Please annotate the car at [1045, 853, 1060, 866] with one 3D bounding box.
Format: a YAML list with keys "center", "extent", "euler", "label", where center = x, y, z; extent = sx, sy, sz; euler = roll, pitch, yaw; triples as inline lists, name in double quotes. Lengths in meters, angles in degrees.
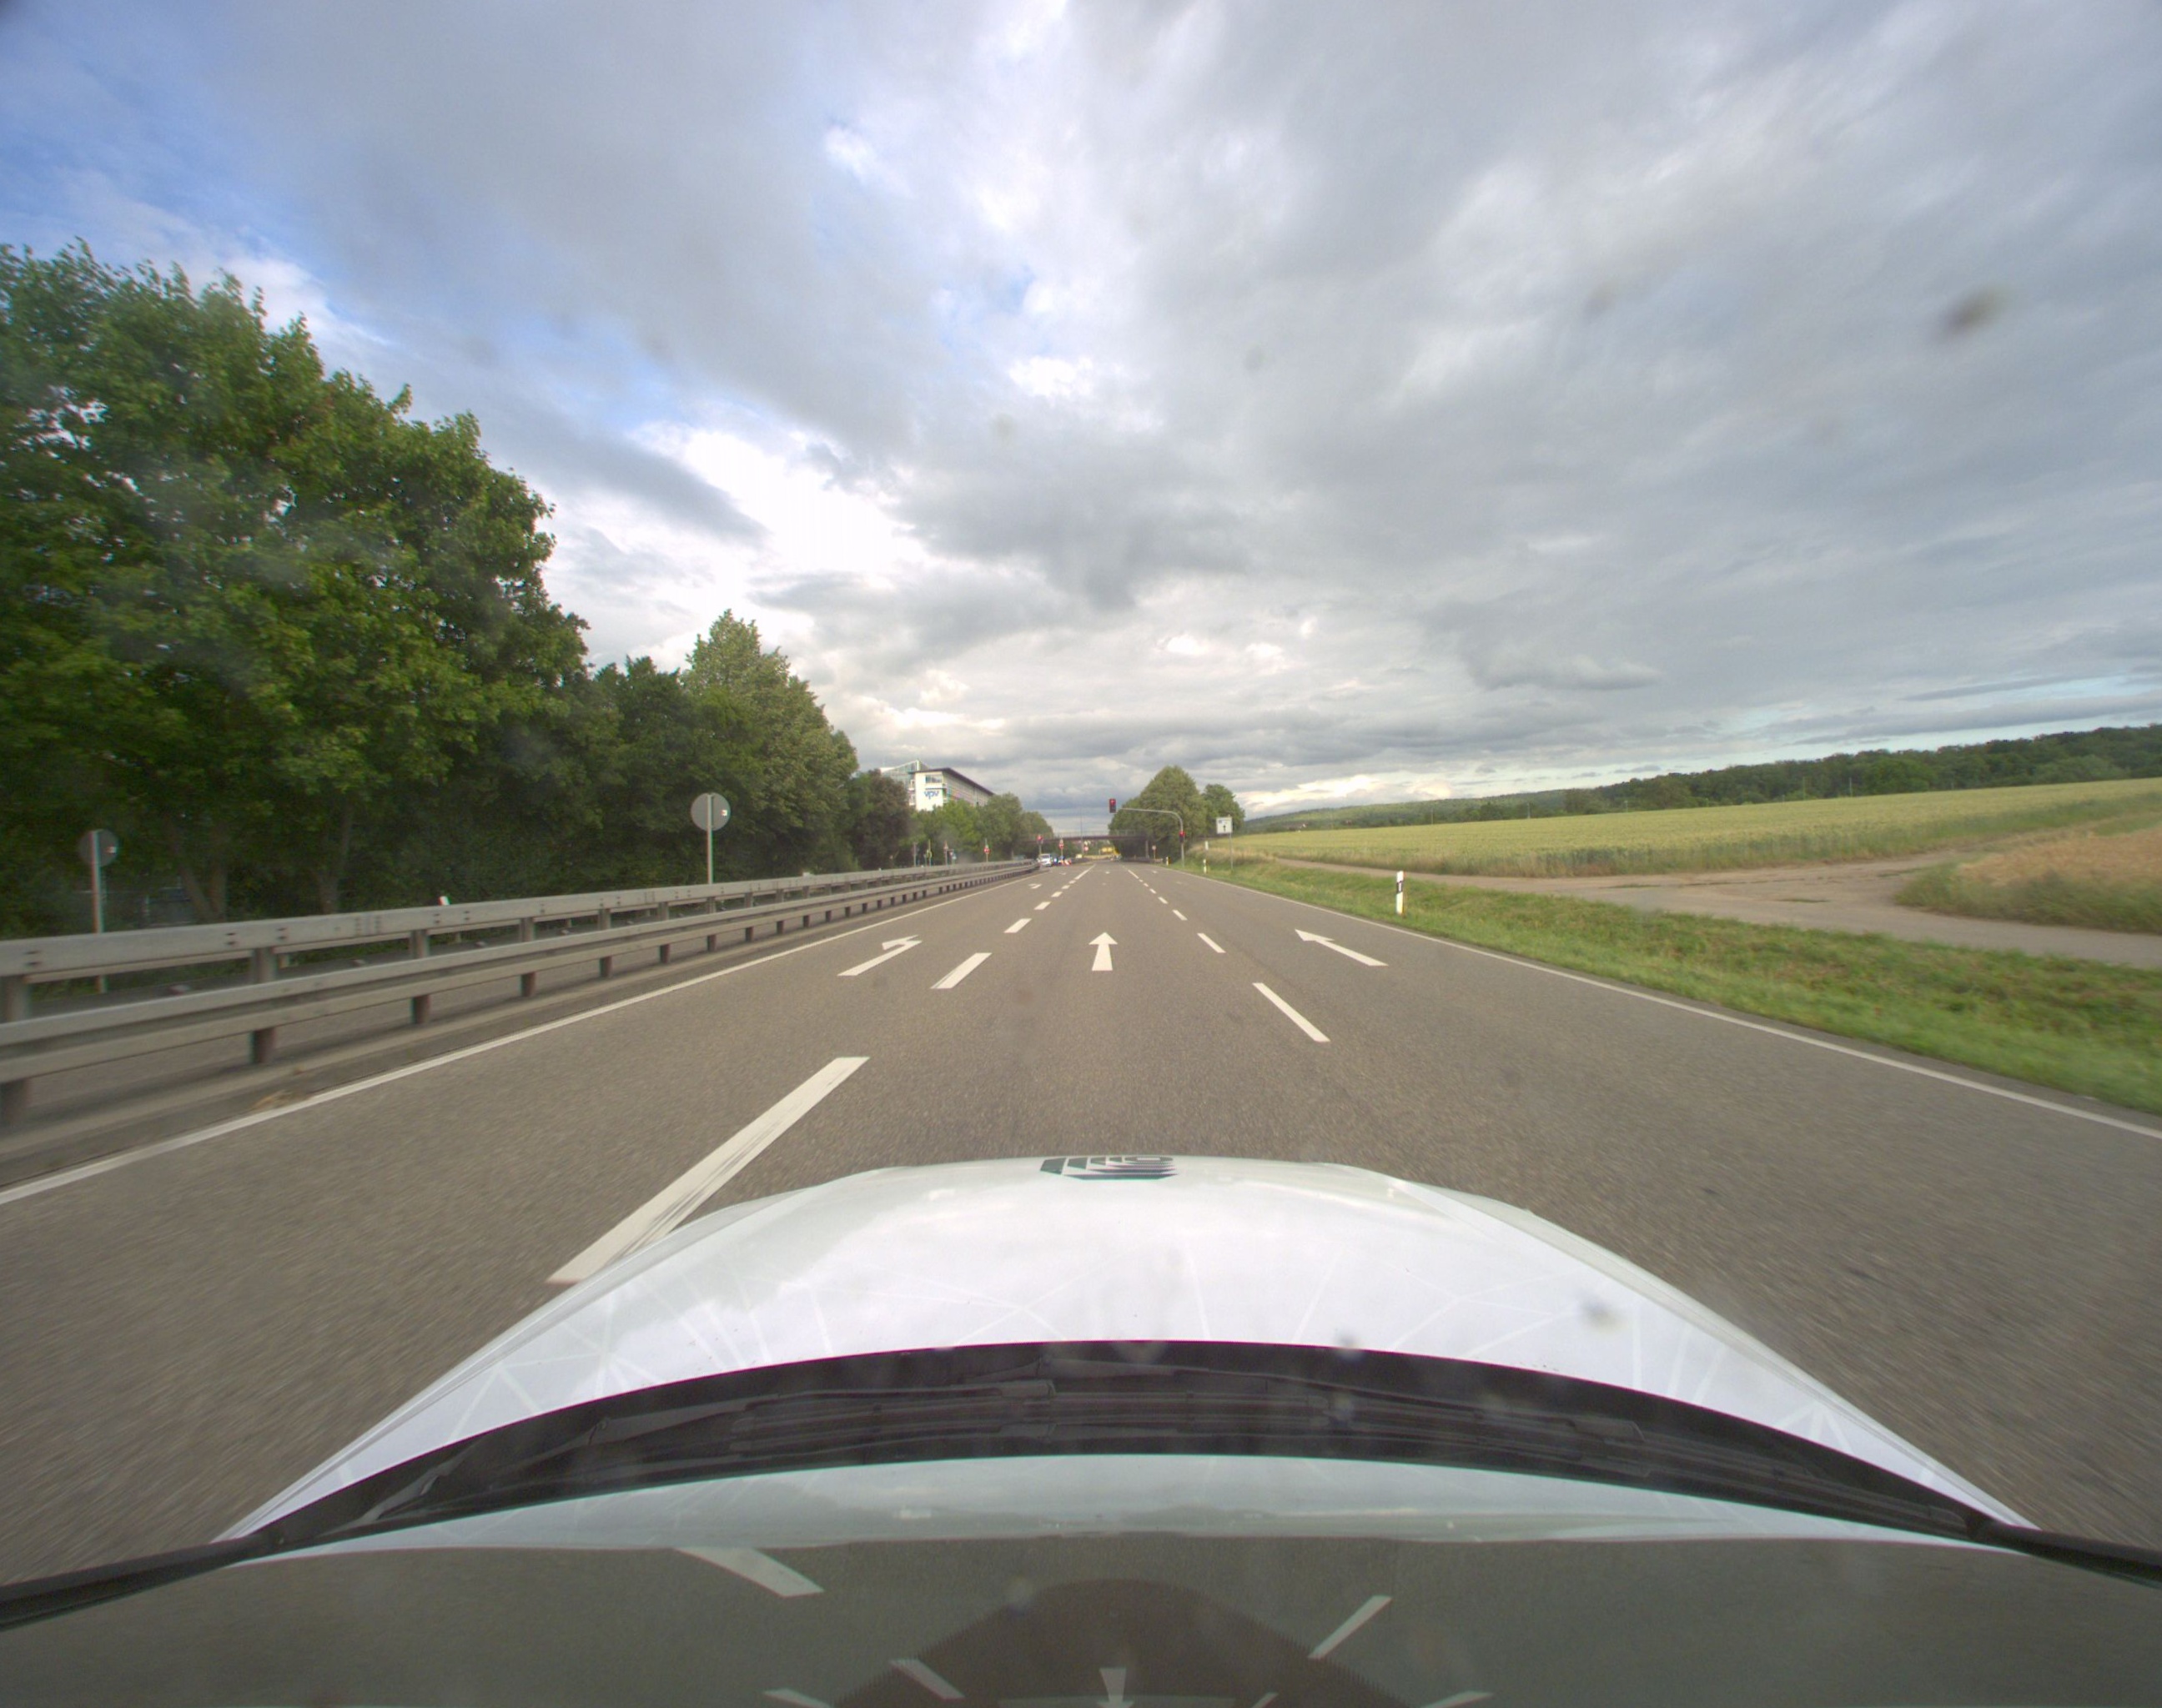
- center: [-4.314, 0.862, 124.613]
  extent: [1.986, 1.873, 4.739]
  euler: [-2, 0, 2]
  label: "car"

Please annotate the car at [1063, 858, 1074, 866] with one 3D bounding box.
- center: [-1.741, 1.098, 112.574]
  extent: [1.352, 1.092, 2.924]
  euler: [-2, 0, 3]
  label: "car"

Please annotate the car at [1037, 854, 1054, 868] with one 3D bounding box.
- center: [-4.930, 0.952, 114.627]
  extent: [1.941, 1.873, 4.739]
  euler: [-2, 0, 2]
  label: "car"

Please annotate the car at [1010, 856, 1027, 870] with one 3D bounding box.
- center: [-8.827, 1.216, 114.539]
  extent: [1.861, 1.754, 4.051]
  euler: [-2, 0, 2]
  label: "car"
